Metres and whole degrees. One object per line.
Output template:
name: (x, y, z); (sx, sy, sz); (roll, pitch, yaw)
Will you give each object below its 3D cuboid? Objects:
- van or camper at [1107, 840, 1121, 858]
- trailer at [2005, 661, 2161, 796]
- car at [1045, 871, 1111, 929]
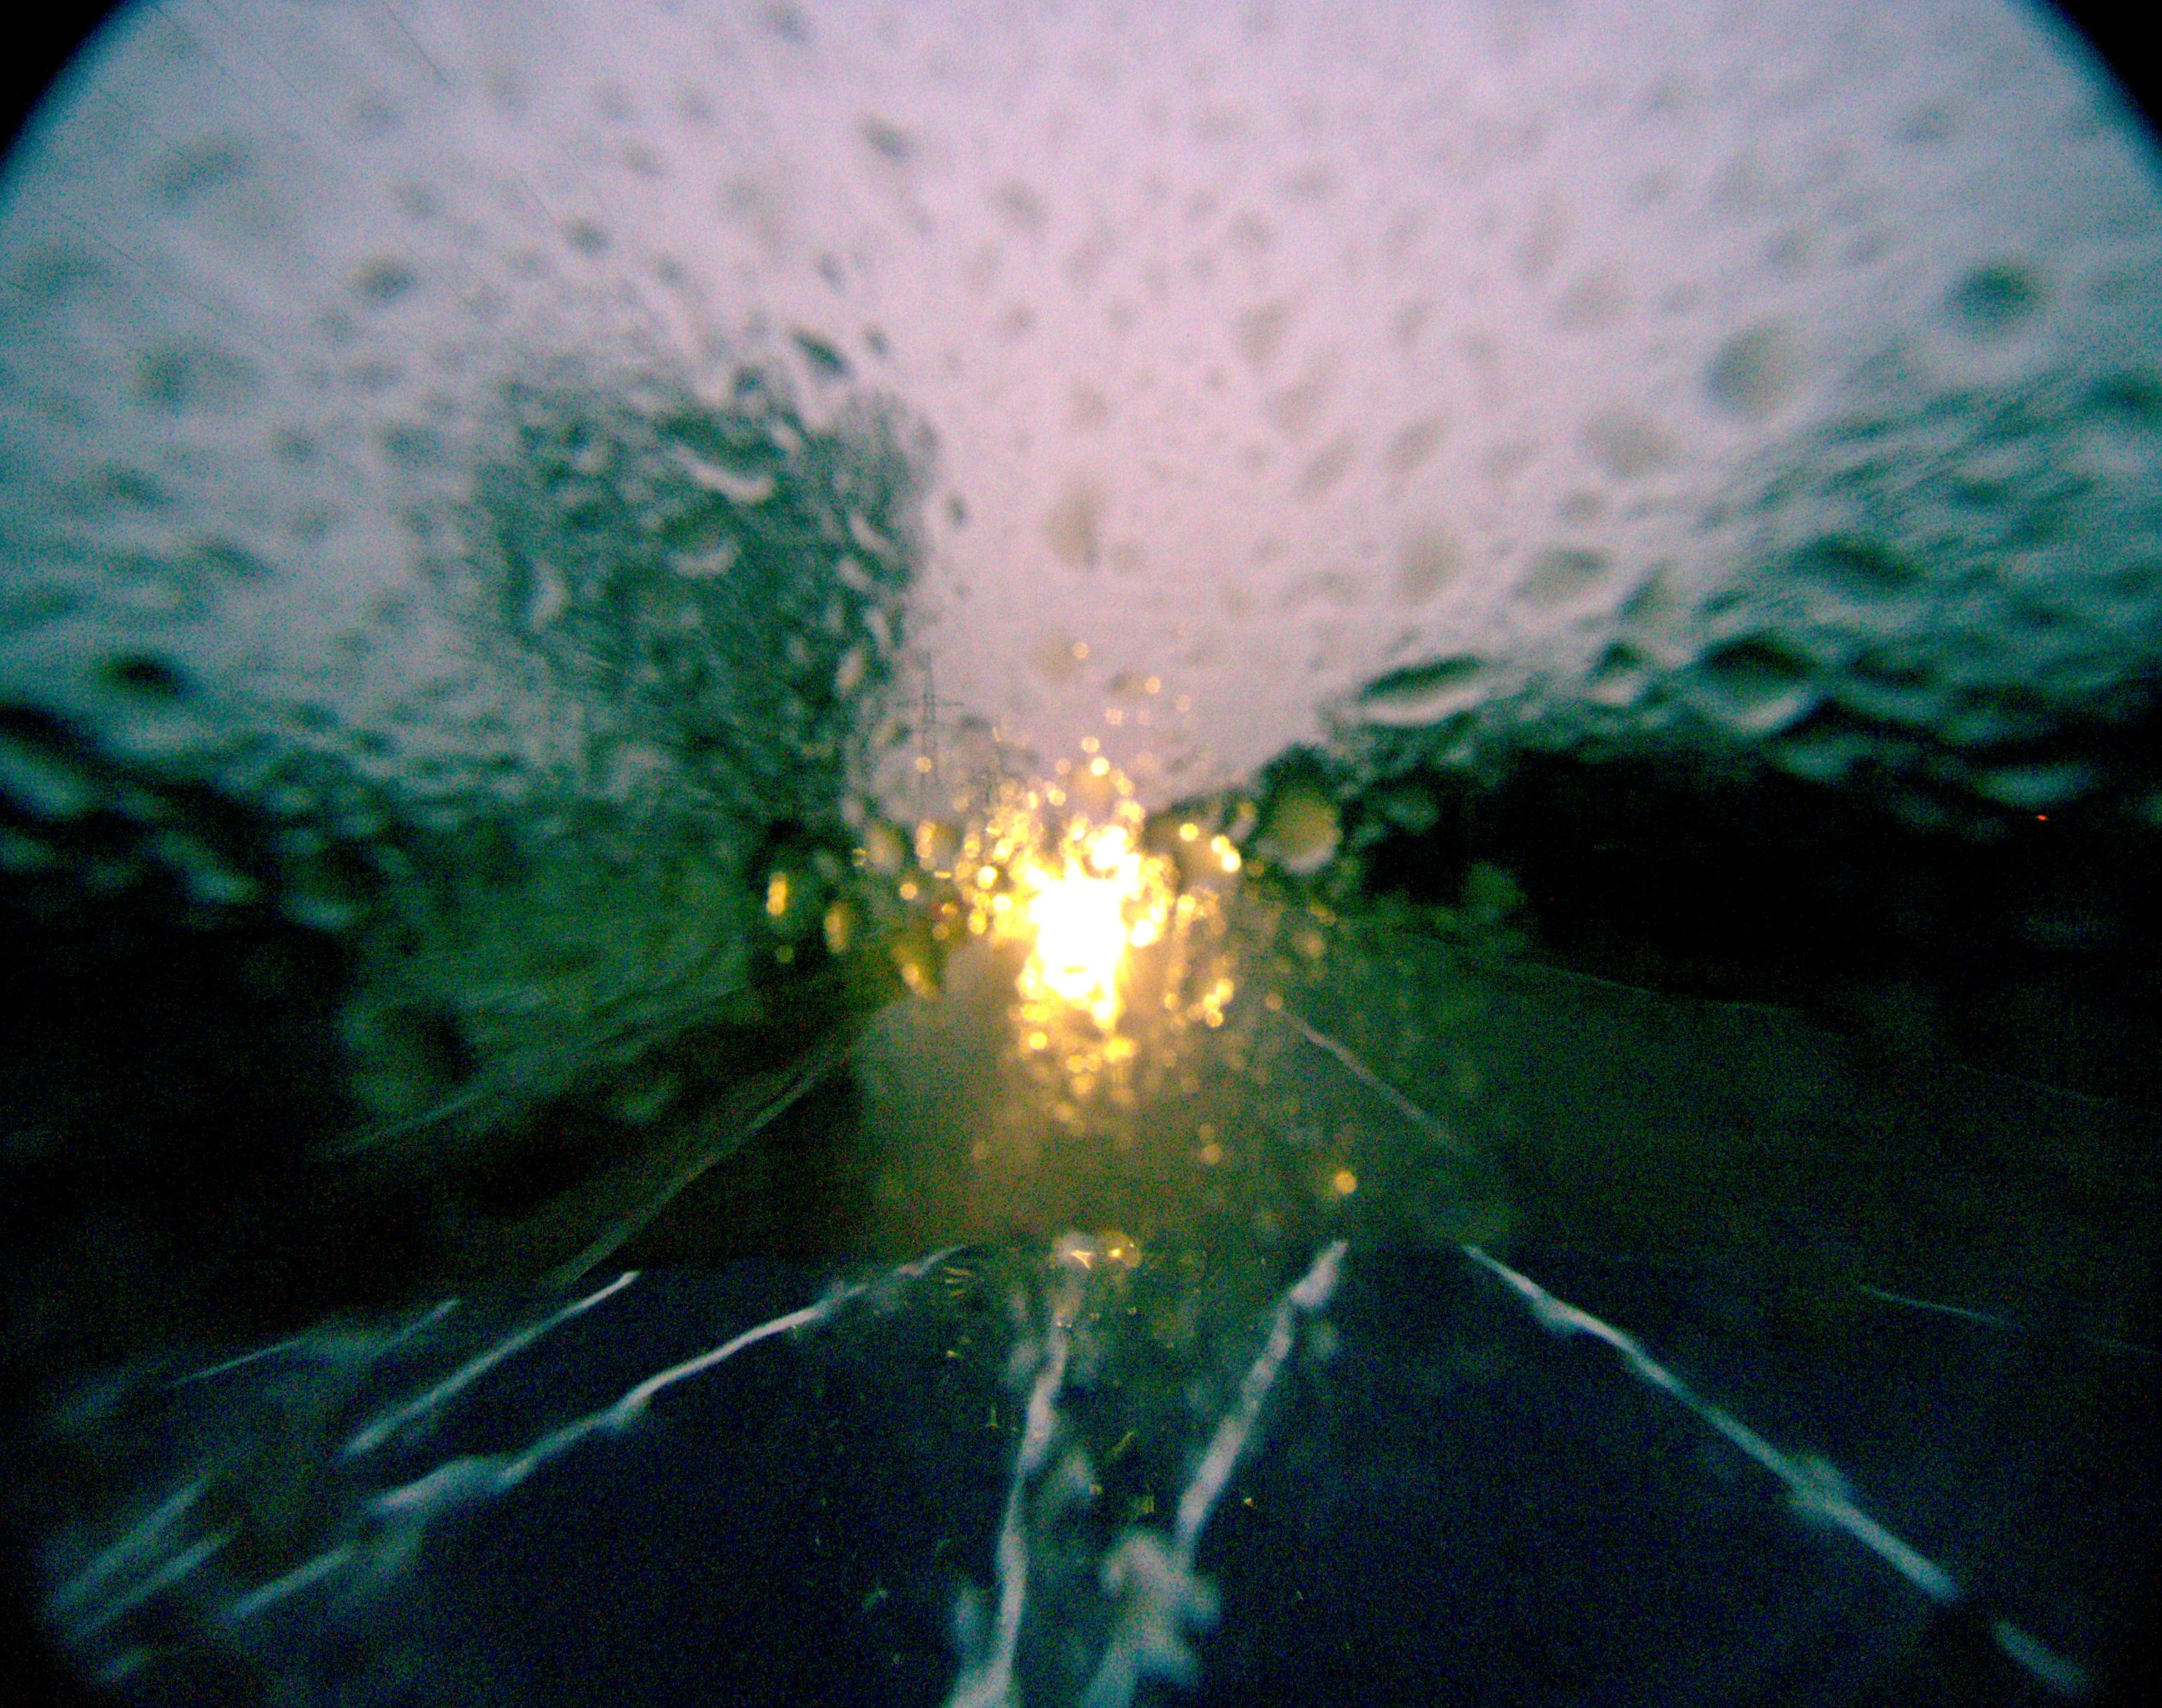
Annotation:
van or camper: (5.278, -0.817, 123.220); (2.026, 2.760, 6.743); (-1, 1, 1)
trailer: (25.975, -2.978, 14.841); (2.442, 2.874, 11.084); (-1, 0, 0)
car: (-0.021, 1.463, 25.581); (1.909, 1.653, 4.001); (-1, 1, 4)
